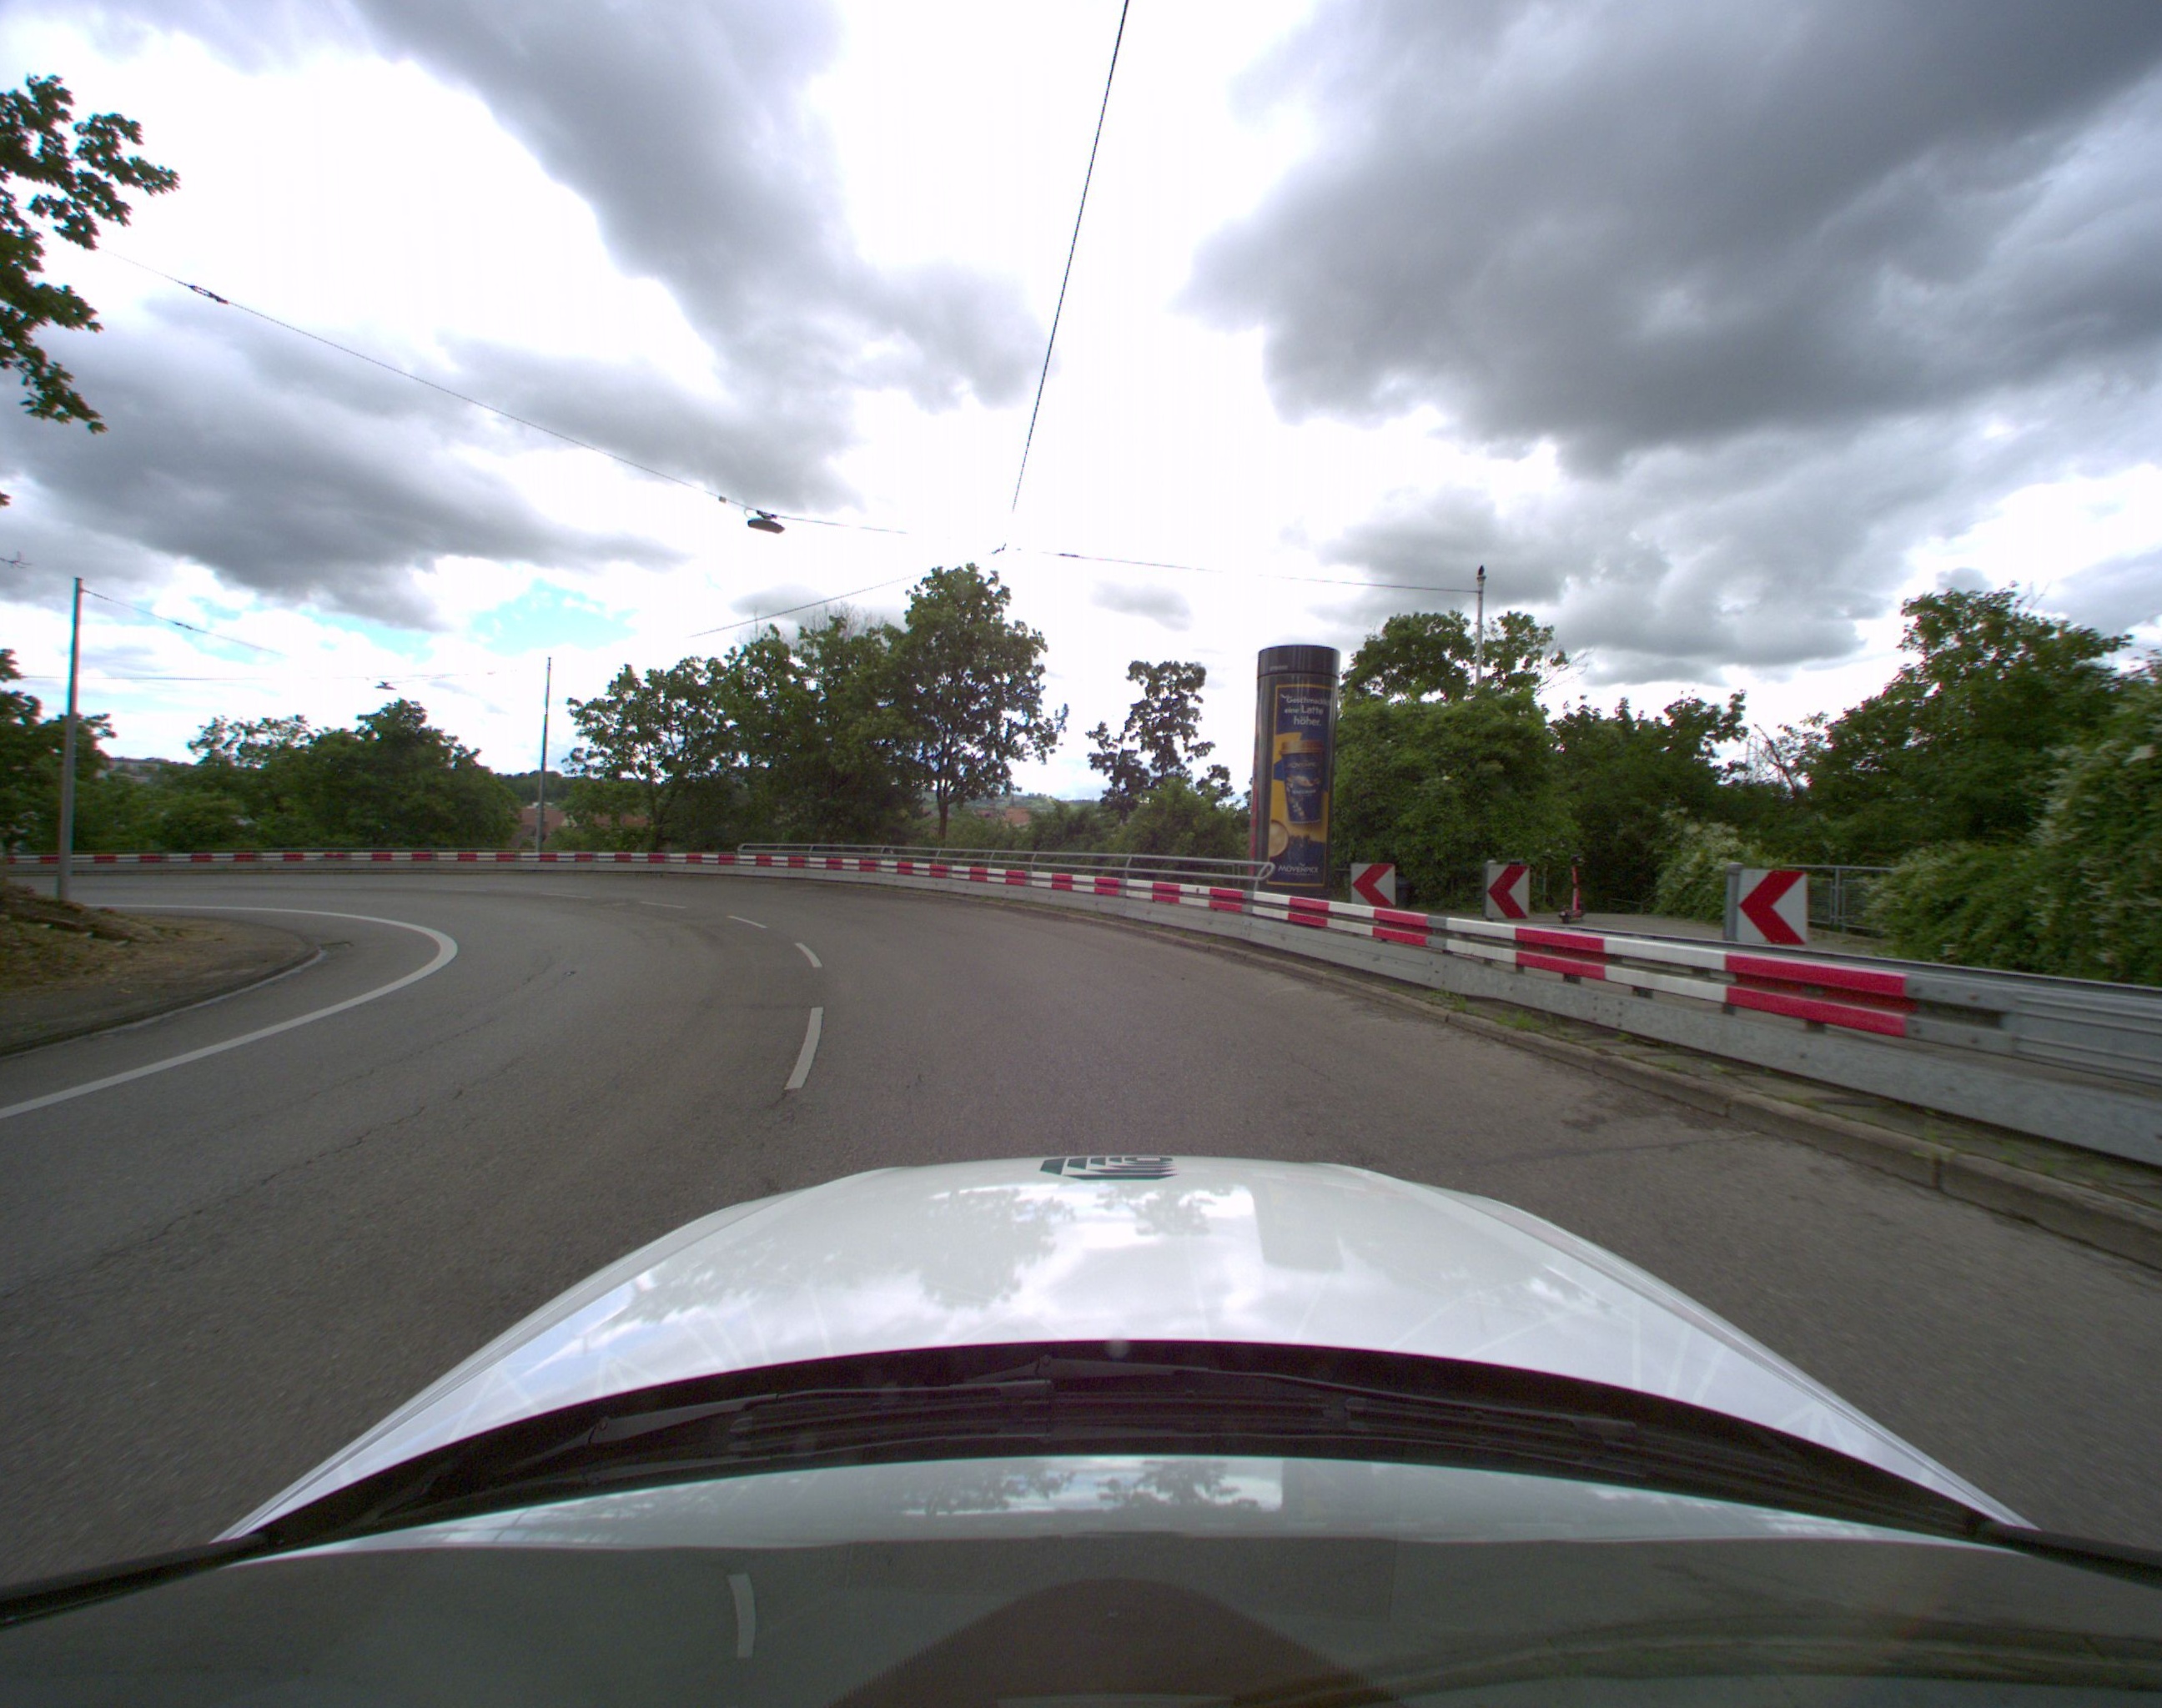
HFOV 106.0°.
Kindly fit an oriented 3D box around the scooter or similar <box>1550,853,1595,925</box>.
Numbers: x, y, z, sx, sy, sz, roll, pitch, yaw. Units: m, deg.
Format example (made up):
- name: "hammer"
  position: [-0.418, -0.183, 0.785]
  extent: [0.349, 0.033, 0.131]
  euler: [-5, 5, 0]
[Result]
- name: "scooter or similar"
  position: [9.055, 0.616, 14.995]
  extent: [0.431, 1.250, 1.510]
  euler: [2, 1, 41]
